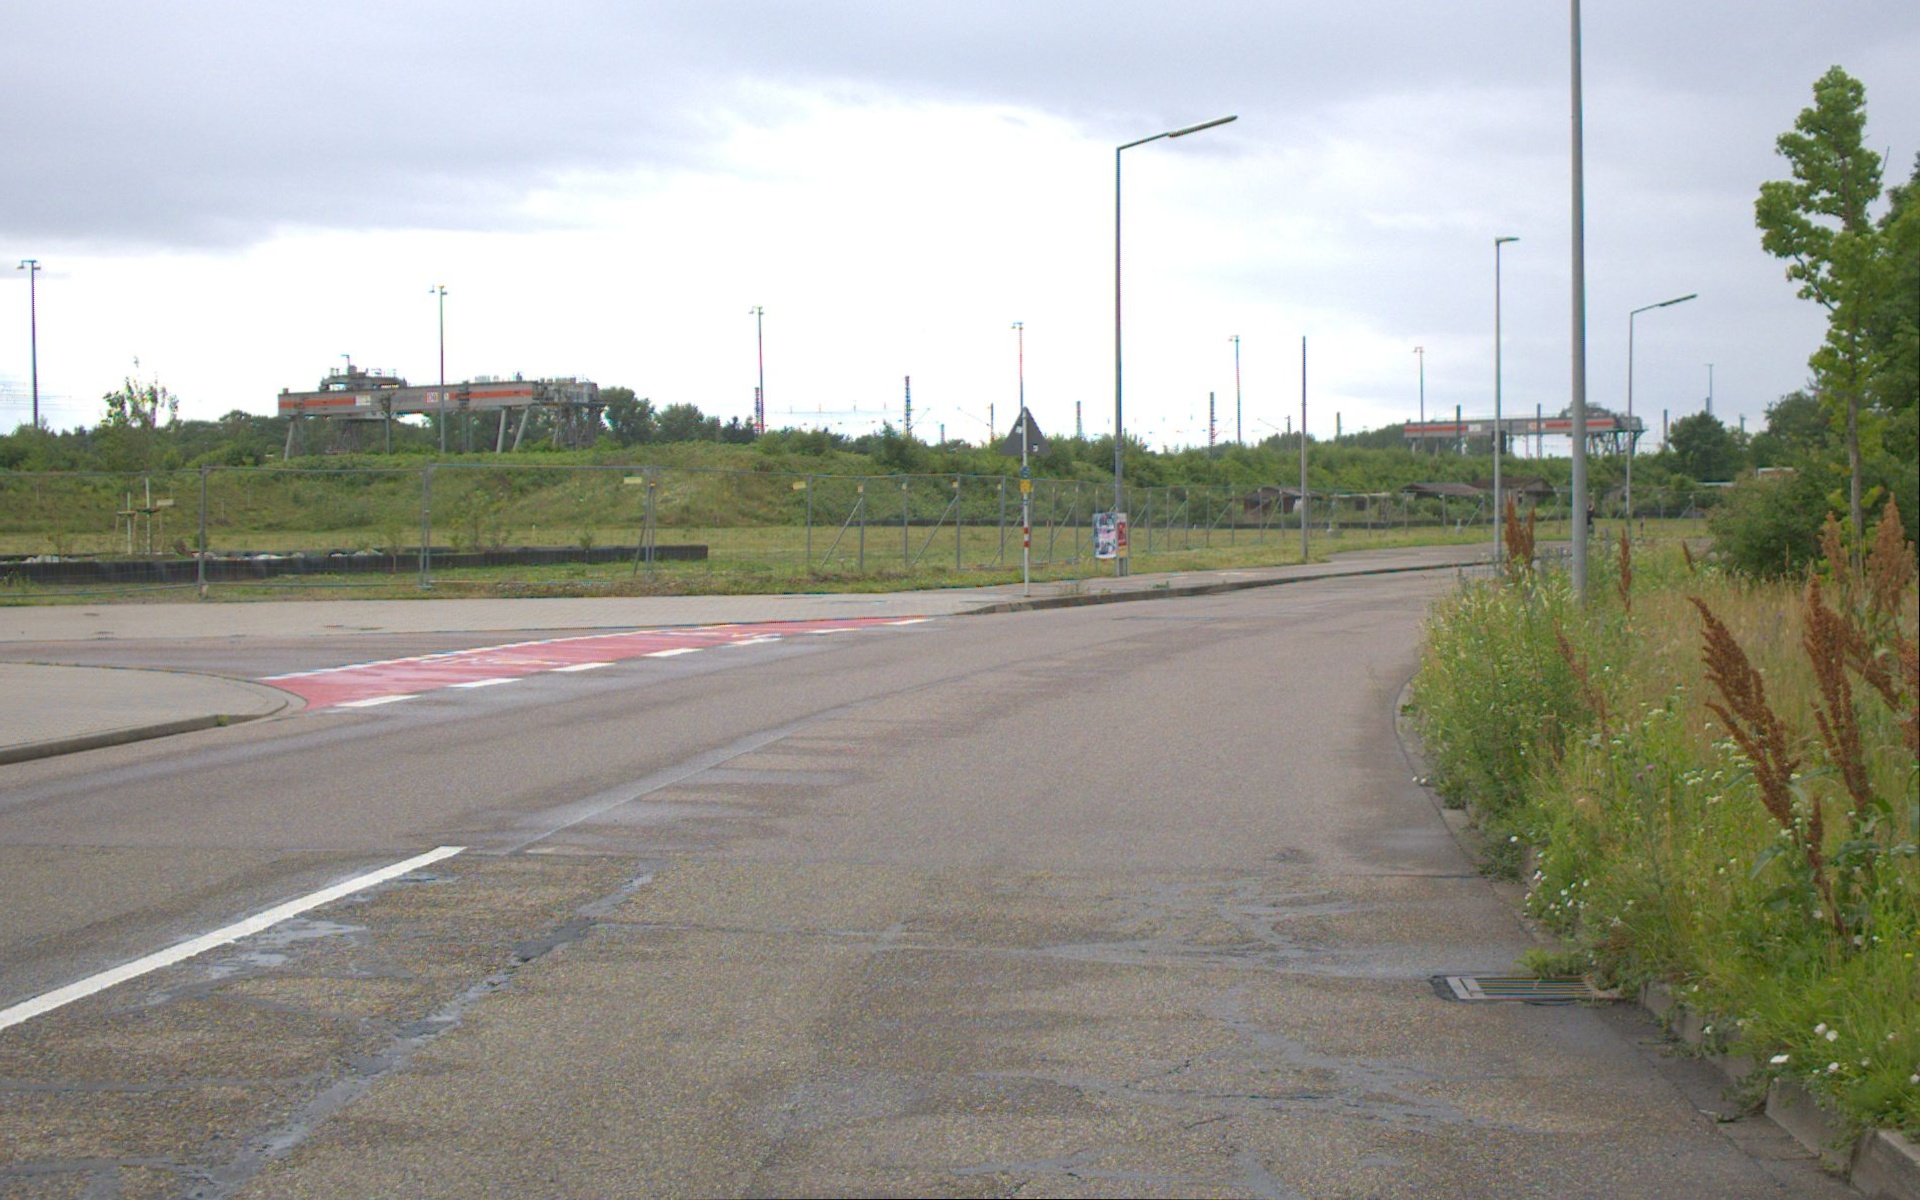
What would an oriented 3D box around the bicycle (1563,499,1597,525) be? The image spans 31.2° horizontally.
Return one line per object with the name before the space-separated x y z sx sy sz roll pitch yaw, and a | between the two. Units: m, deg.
bicycle | 22.373 -3.169 124.015 0.804 0.904 2.230 0 3 21
